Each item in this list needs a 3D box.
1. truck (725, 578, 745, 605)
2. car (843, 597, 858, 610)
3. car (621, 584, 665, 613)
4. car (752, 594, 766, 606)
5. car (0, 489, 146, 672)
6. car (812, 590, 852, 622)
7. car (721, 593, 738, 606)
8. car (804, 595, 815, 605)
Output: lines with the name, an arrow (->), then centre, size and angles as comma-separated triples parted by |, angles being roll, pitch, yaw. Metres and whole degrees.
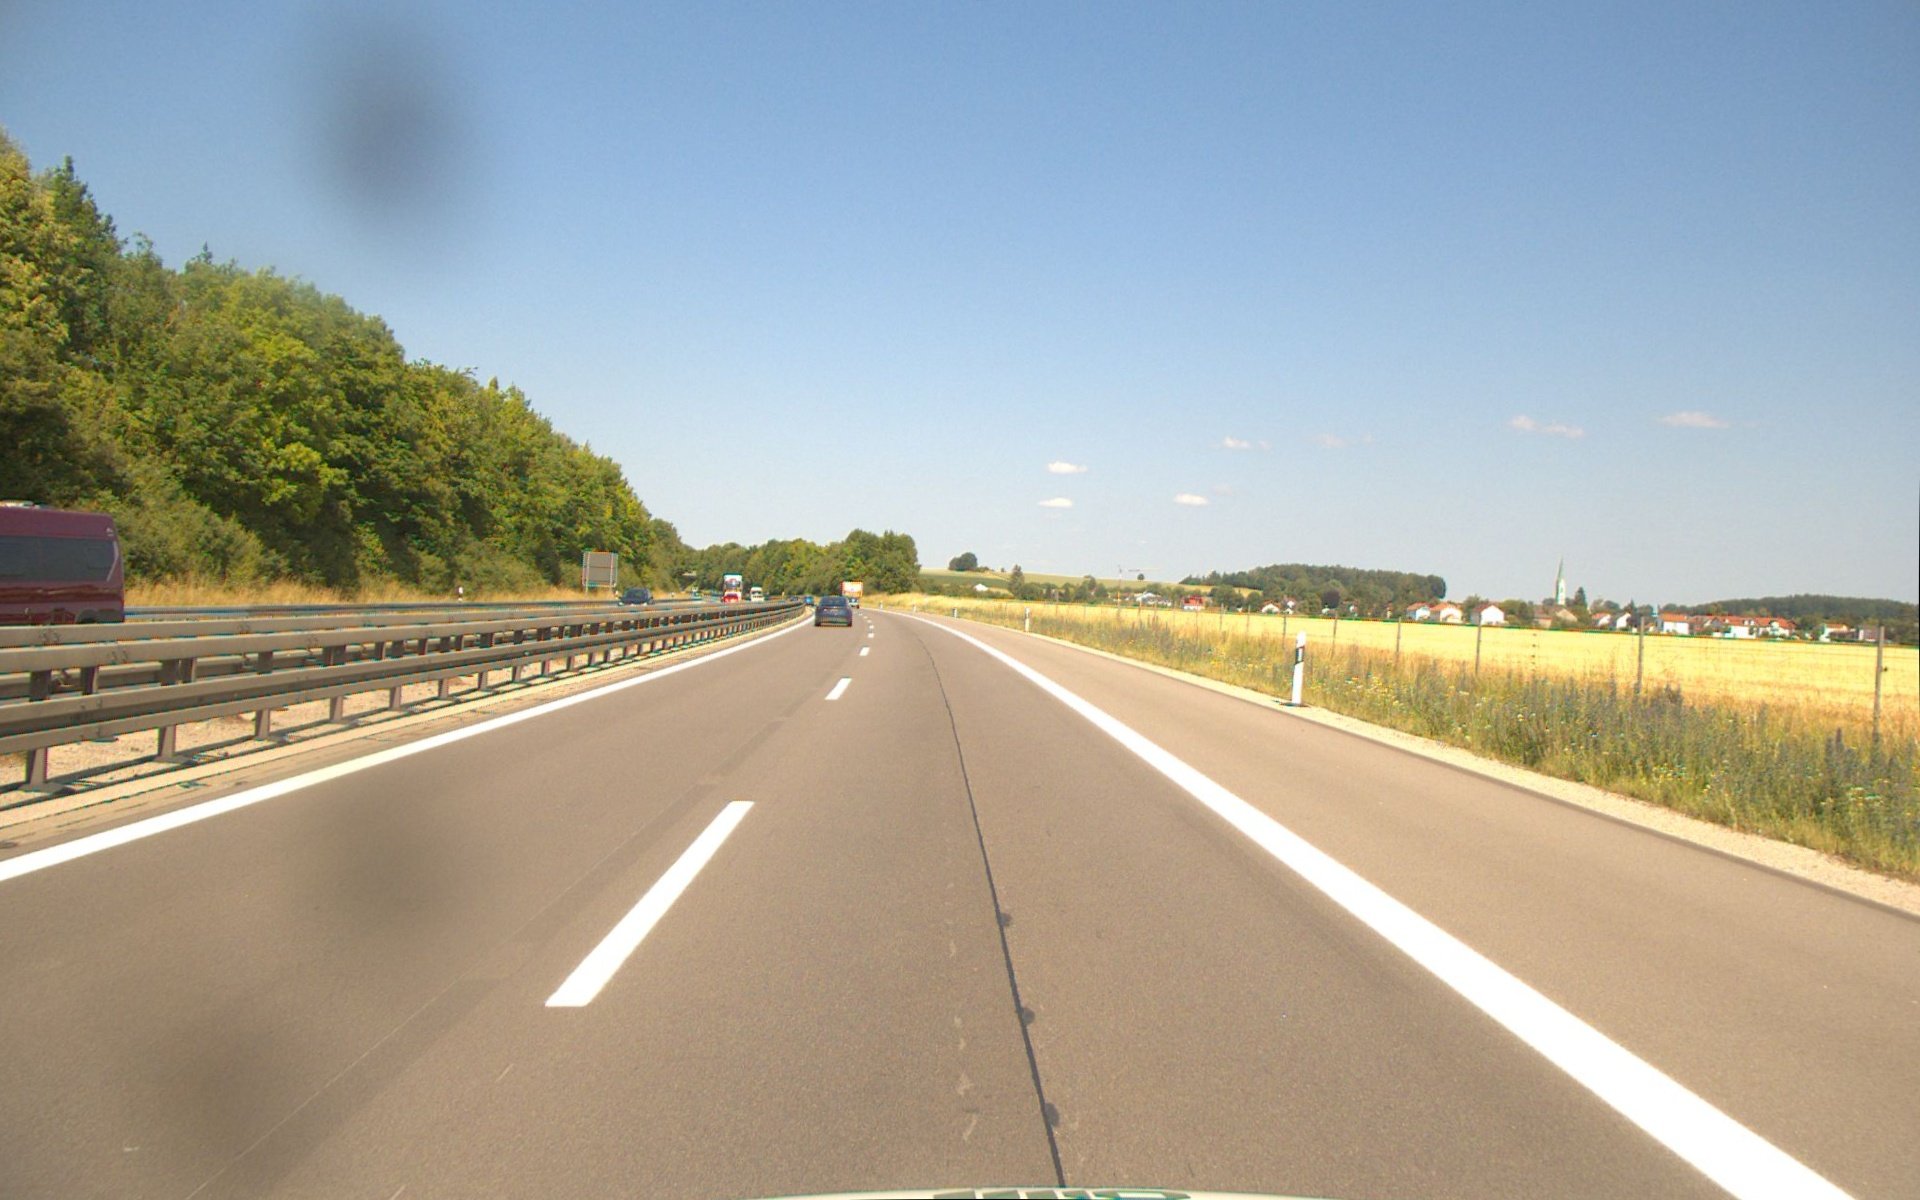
truck -> -33.130, -1.239, 243.778 | 2.693, 3.896, 5.904 | 2, 0, -6
car -> -13.380, 0.388, 201.793 | 1.644, 1.478, 3.587 | 2, 0, -6
car -> -18.318, -0.117, 95.765 | 1.774, 1.582, 4.847 | 2, 0, -3
car -> -28.139, -0.003, 231.684 | 1.652, 1.509, 4.973 | 2, 0, -4
car -> -15.118, -0.340, 24.904 | 2.492, 2.640, 6.591 | 2, 0, -1
car -> -6.298, 0.258, 81.819 | 1.810, 1.457, 5.862 | 1, 1, -3
car -> -26.311, -0.090, 188.828 | 1.640, 1.462, 4.138 | 2, 0, -4
car -> -22.563, 0.033, 248.077 | 1.643, 1.478, 3.589 | 2, 0, -4
